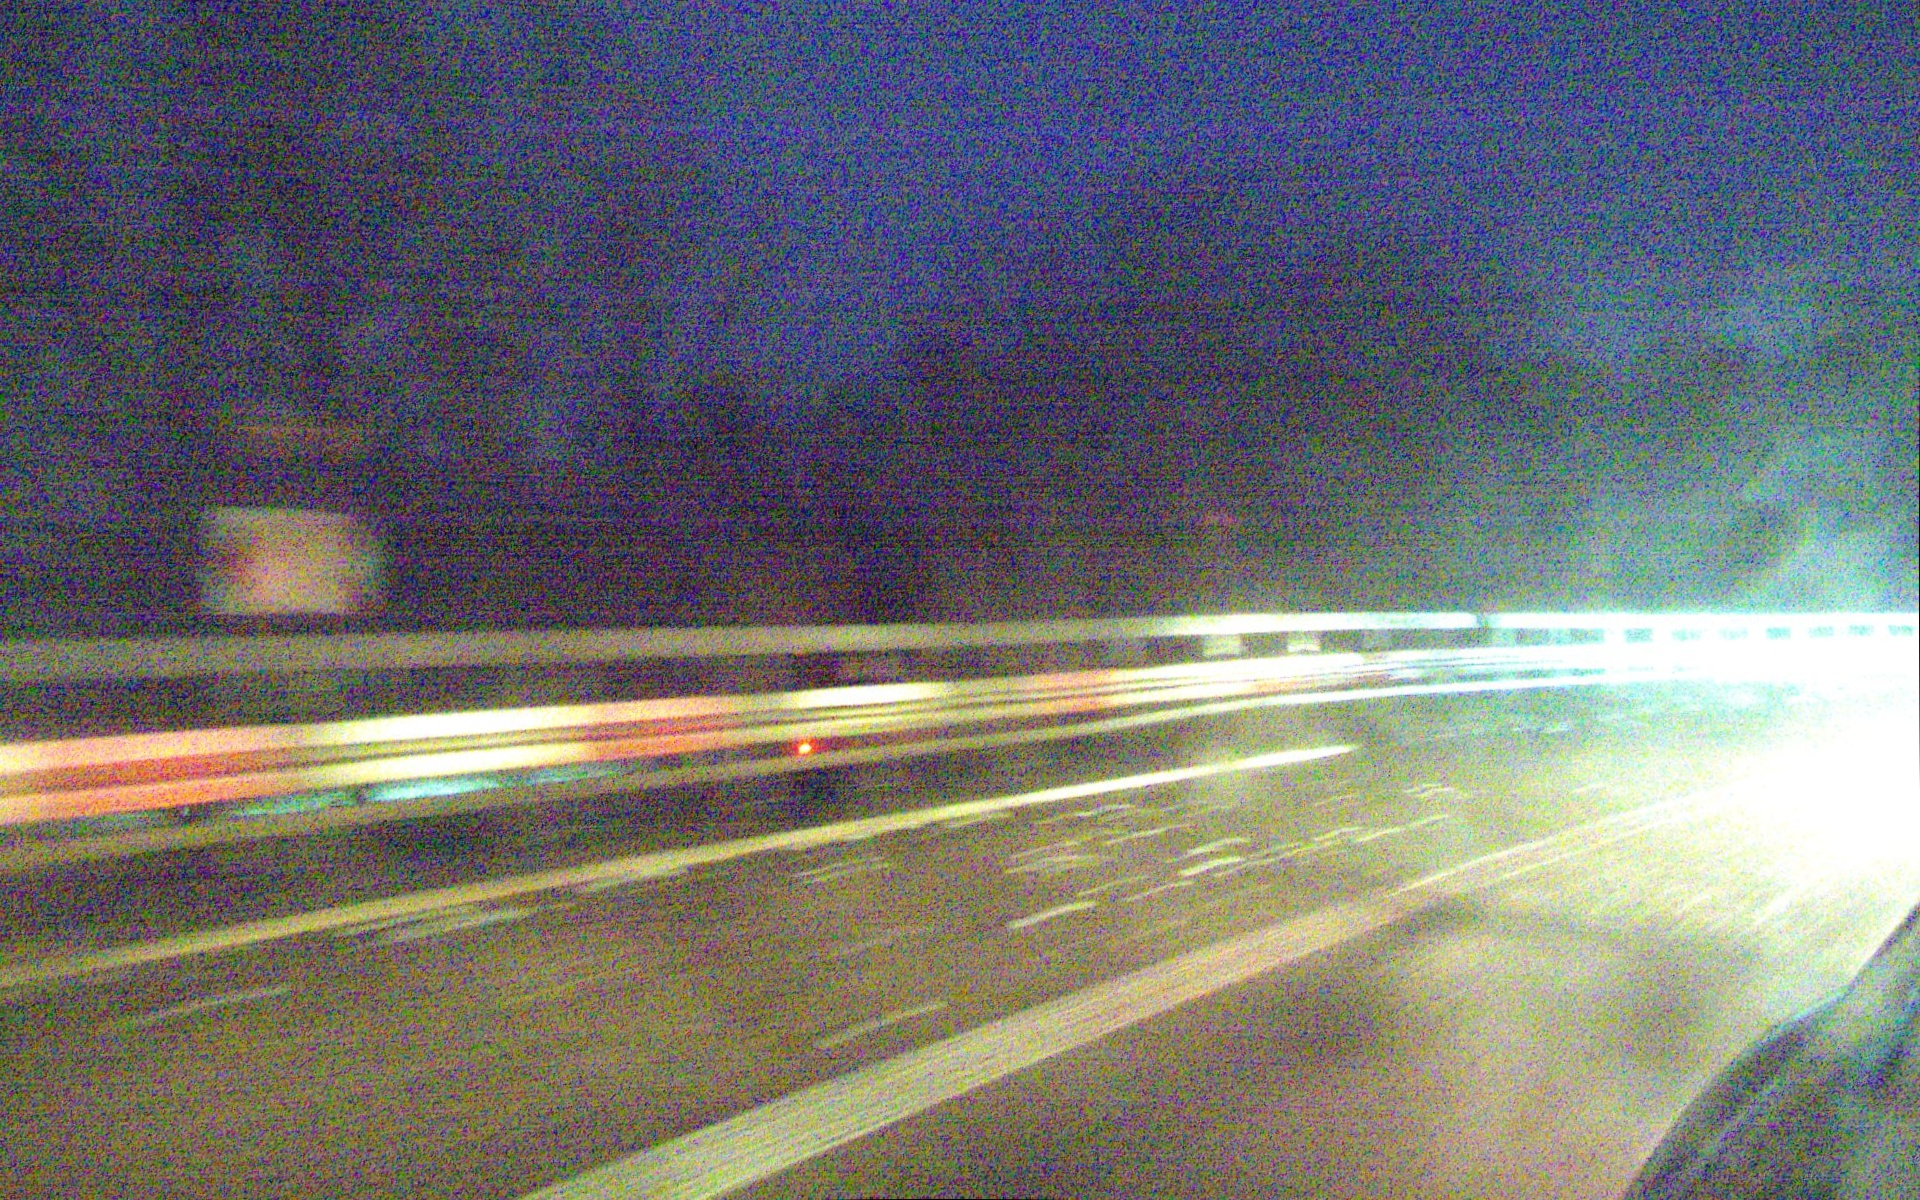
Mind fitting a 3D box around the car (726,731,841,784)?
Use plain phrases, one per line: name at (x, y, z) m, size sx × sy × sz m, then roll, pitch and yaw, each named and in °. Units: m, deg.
car at (-6.974, 6.216, 40.036) m, size 4.060 × 1.706 × 1.733 m, roll -5°, pitch -3°, yaw 15°
